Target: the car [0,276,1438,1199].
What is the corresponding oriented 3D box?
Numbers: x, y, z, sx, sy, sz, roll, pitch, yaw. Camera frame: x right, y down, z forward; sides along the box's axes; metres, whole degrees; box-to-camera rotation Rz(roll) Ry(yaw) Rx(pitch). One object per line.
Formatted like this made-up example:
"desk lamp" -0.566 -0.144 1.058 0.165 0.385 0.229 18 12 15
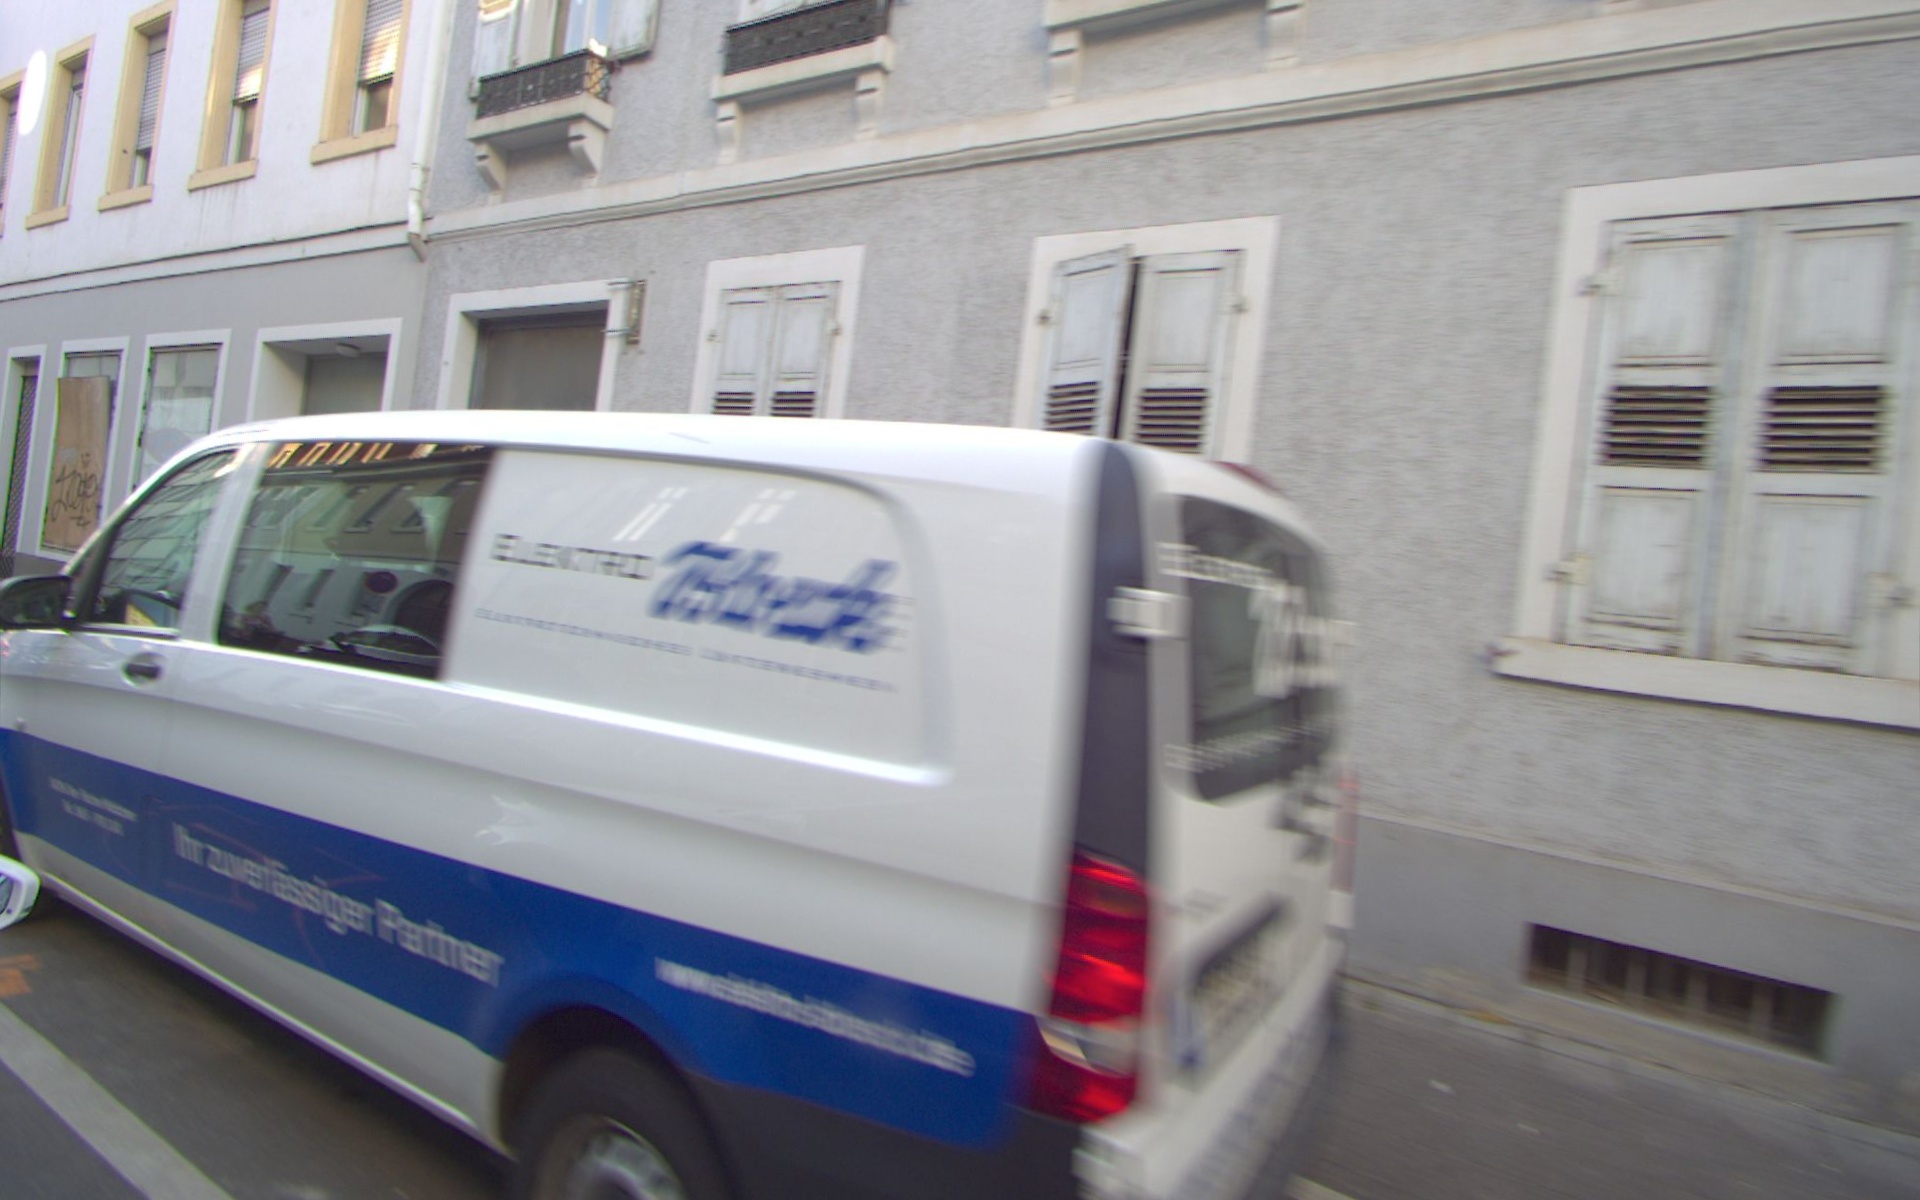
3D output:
"car" -1.479 0.379 3.328 5.228 1.920 1.942 6 2 31
